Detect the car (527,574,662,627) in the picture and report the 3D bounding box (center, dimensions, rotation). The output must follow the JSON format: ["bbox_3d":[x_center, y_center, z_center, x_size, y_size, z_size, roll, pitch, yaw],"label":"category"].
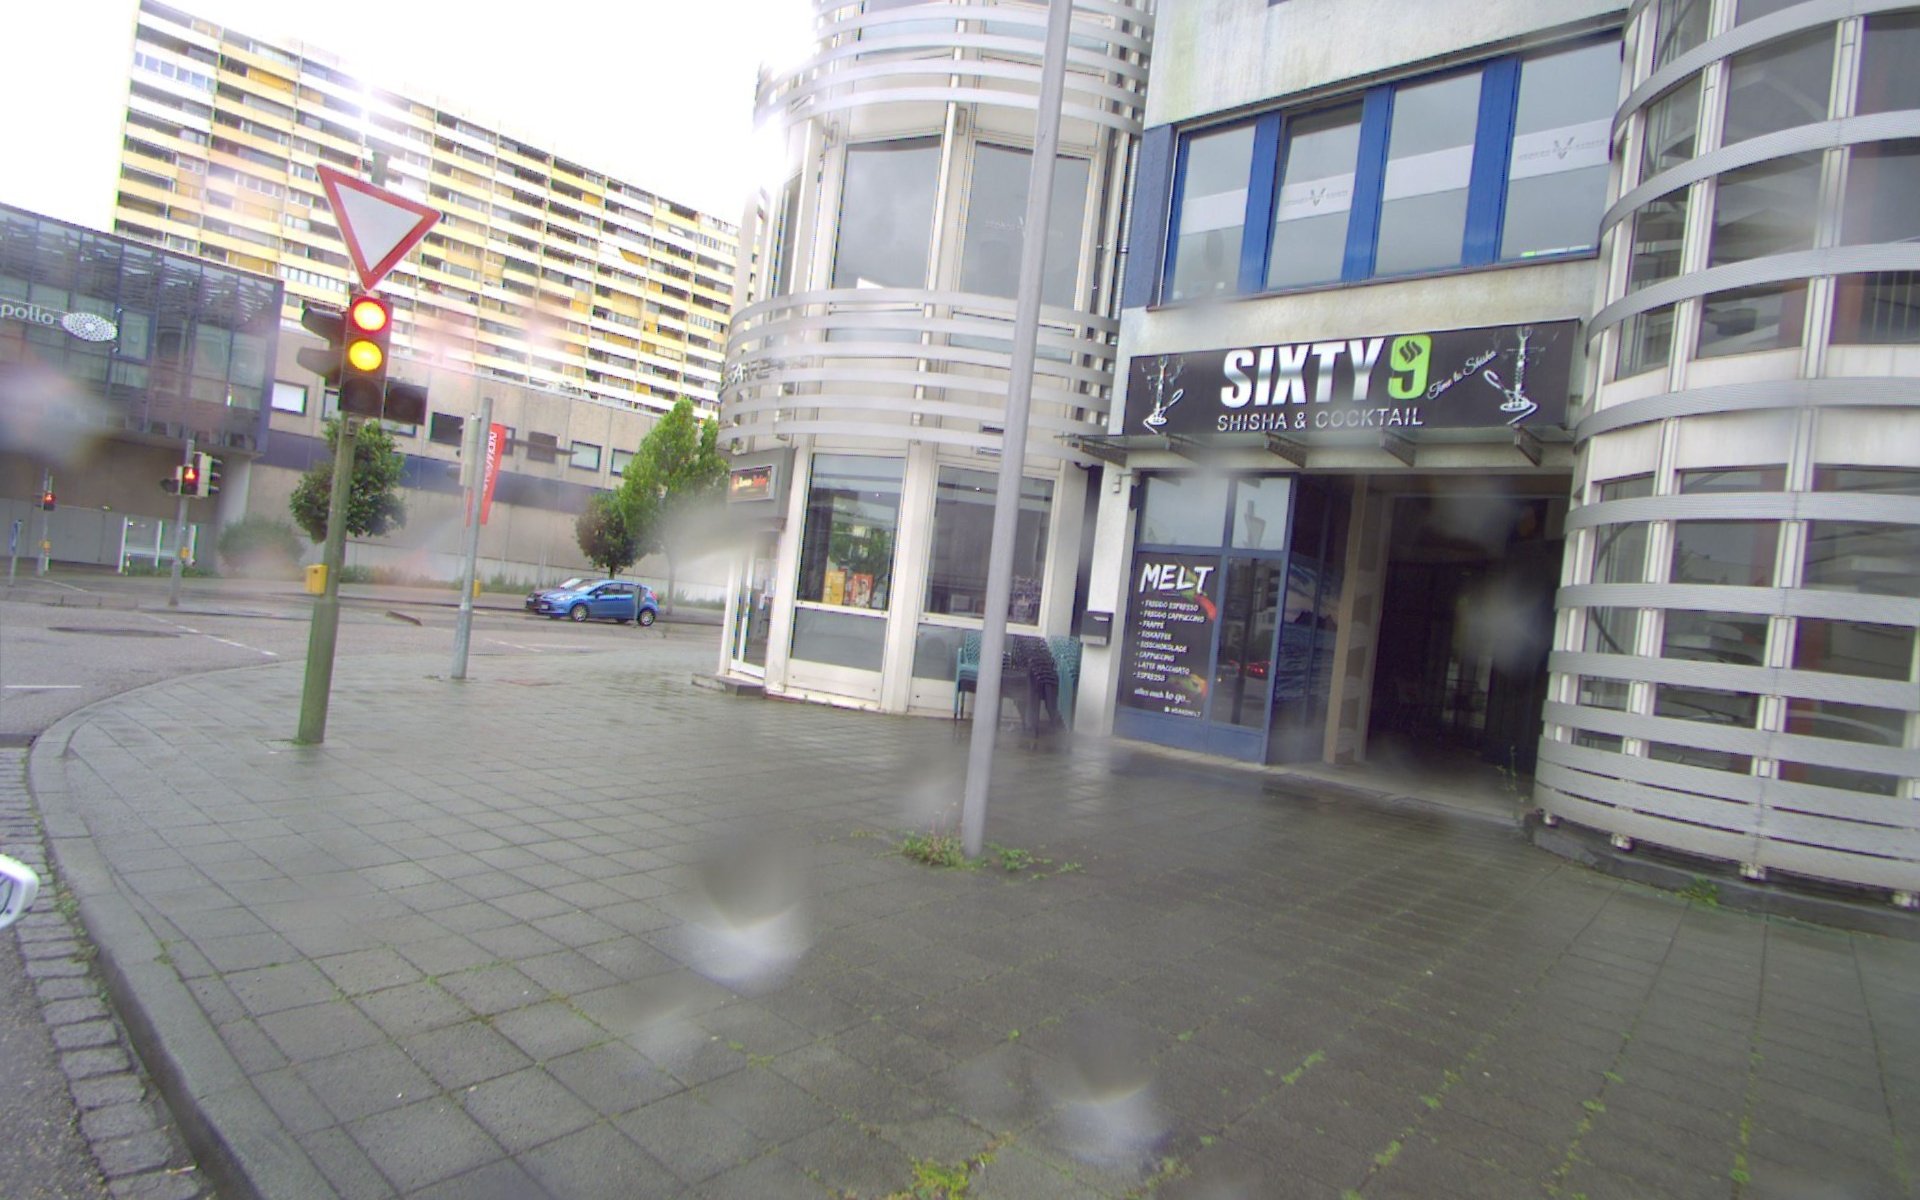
[{"bbox_3d":[-12.063,0.049,33.409,1.655,1.415,3.837,5,0,40],"label":"car"}]

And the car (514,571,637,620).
[{"bbox_3d":[-13.745,-0.155,36.067,1.720,1.412,3.677,5,0,41],"label":"car"}]
